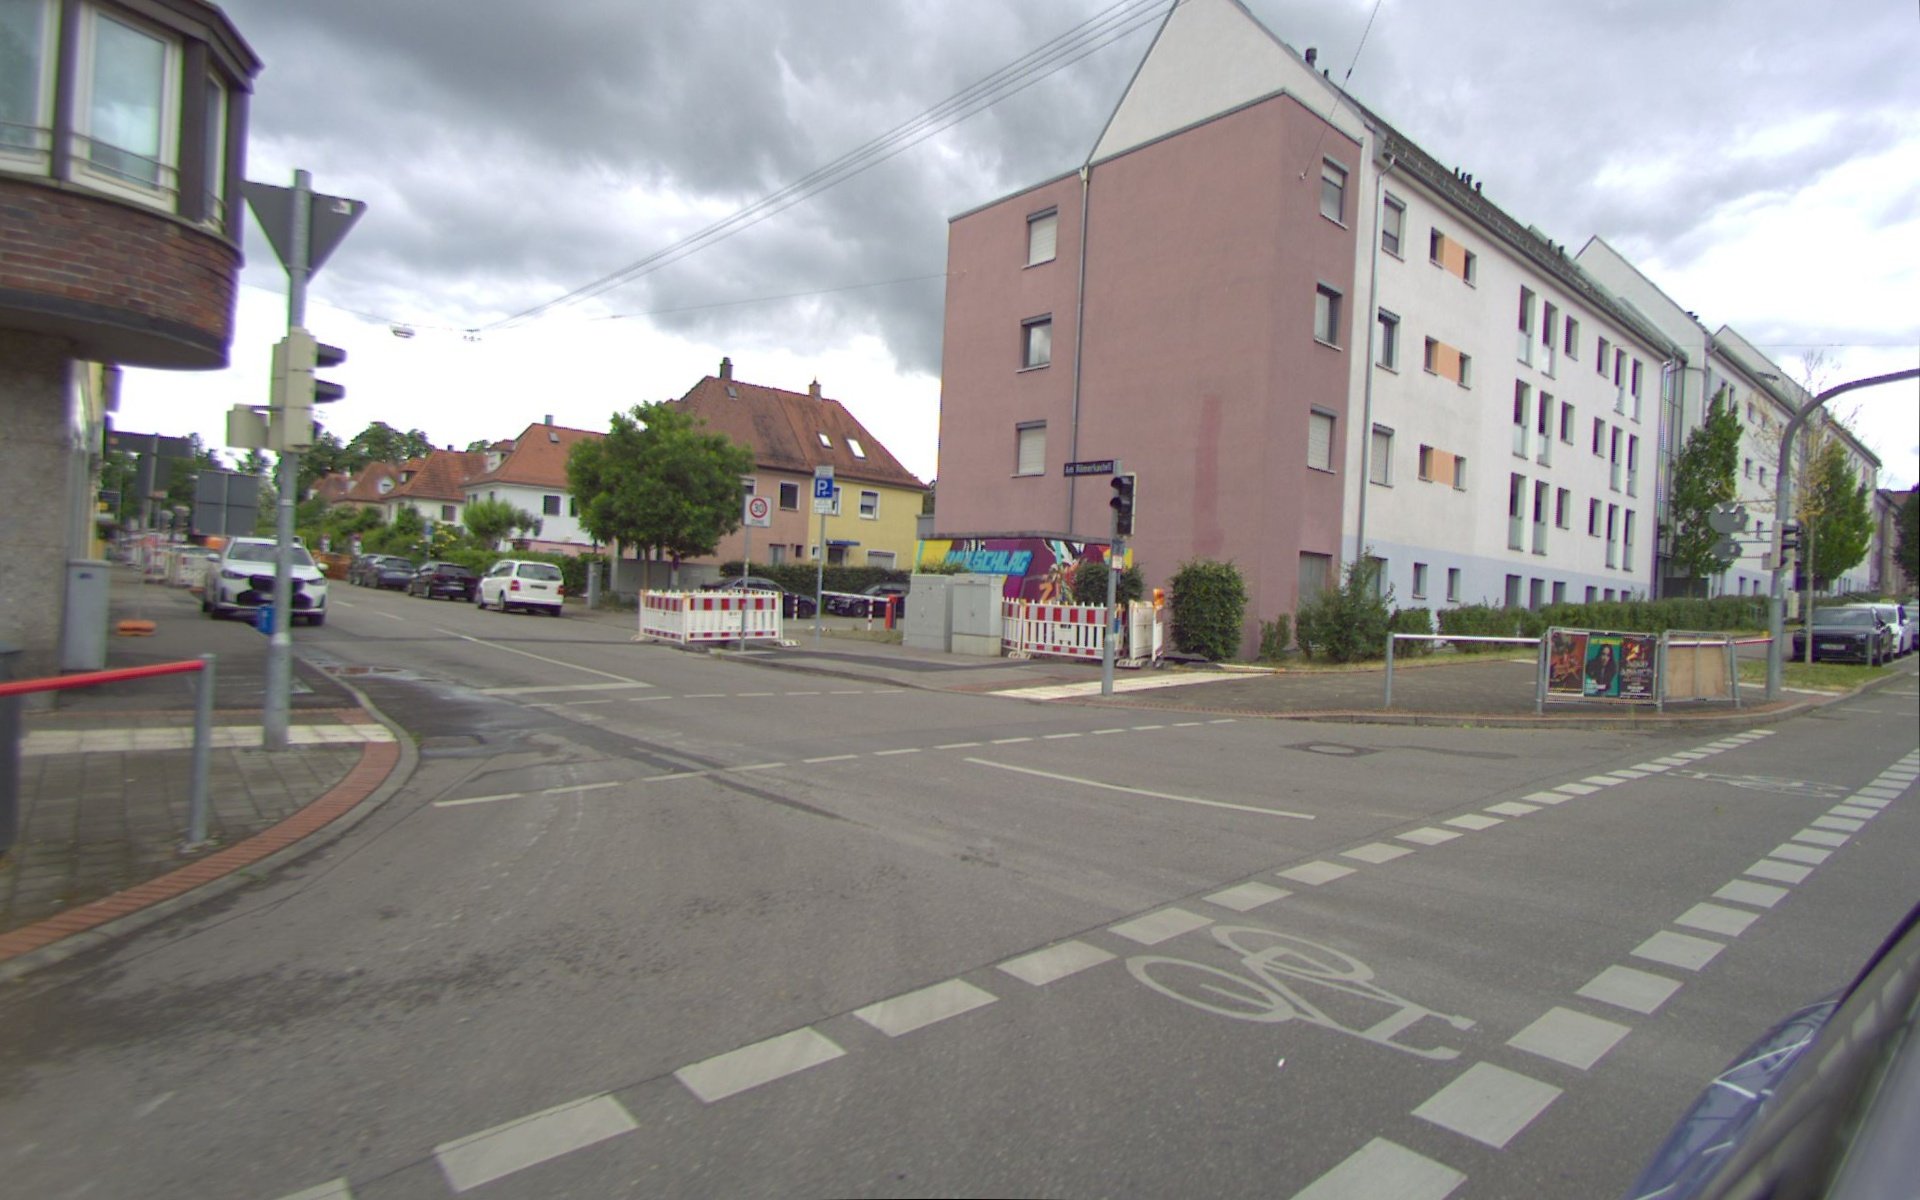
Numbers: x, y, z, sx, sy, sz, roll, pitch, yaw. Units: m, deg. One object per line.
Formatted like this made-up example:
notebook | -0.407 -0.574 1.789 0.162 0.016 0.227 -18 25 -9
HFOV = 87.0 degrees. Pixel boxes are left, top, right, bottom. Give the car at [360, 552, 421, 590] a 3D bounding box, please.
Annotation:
car | -26.011 -1.327 46.174 1.735 1.538 3.794 5 -2 -39

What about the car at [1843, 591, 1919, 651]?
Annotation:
car | 28.940 0.616 31.523 4.473 1.737 1.661 0 0 -42

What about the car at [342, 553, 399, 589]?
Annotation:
car | -28.709 -1.418 49.217 1.735 1.538 3.794 5 -2 -39

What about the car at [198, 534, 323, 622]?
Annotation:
car | -14.700 -0.521 21.157 1.952 1.630 4.533 0 3 -37

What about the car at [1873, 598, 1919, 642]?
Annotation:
car | 33.909 0.669 35.949 4.865 1.486 1.747 0 0 -43

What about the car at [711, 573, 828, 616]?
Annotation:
car | -7.008 -0.201 37.241 3.817 1.372 1.755 2 0 -28

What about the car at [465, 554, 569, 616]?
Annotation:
car | -13.892 -0.489 31.620 1.811 1.667 4.257 5 -2 -39

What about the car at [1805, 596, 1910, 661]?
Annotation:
car | 24.808 0.718 27.928 4.495 1.608 1.736 -1 1 -43

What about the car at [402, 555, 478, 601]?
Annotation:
car | -19.942 -0.854 38.759 1.735 1.538 3.794 5 -2 -39

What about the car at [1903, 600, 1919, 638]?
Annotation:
car | 38.071 0.709 39.332 4.423 1.431 1.732 0 0 -42

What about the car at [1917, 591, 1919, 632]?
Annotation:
car | 41.987 0.479 42.934 4.280 1.671 1.634 0 0 -41

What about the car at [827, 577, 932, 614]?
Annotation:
car | -3.182 -0.169 40.265 3.824 1.372 1.752 0 1 -37
